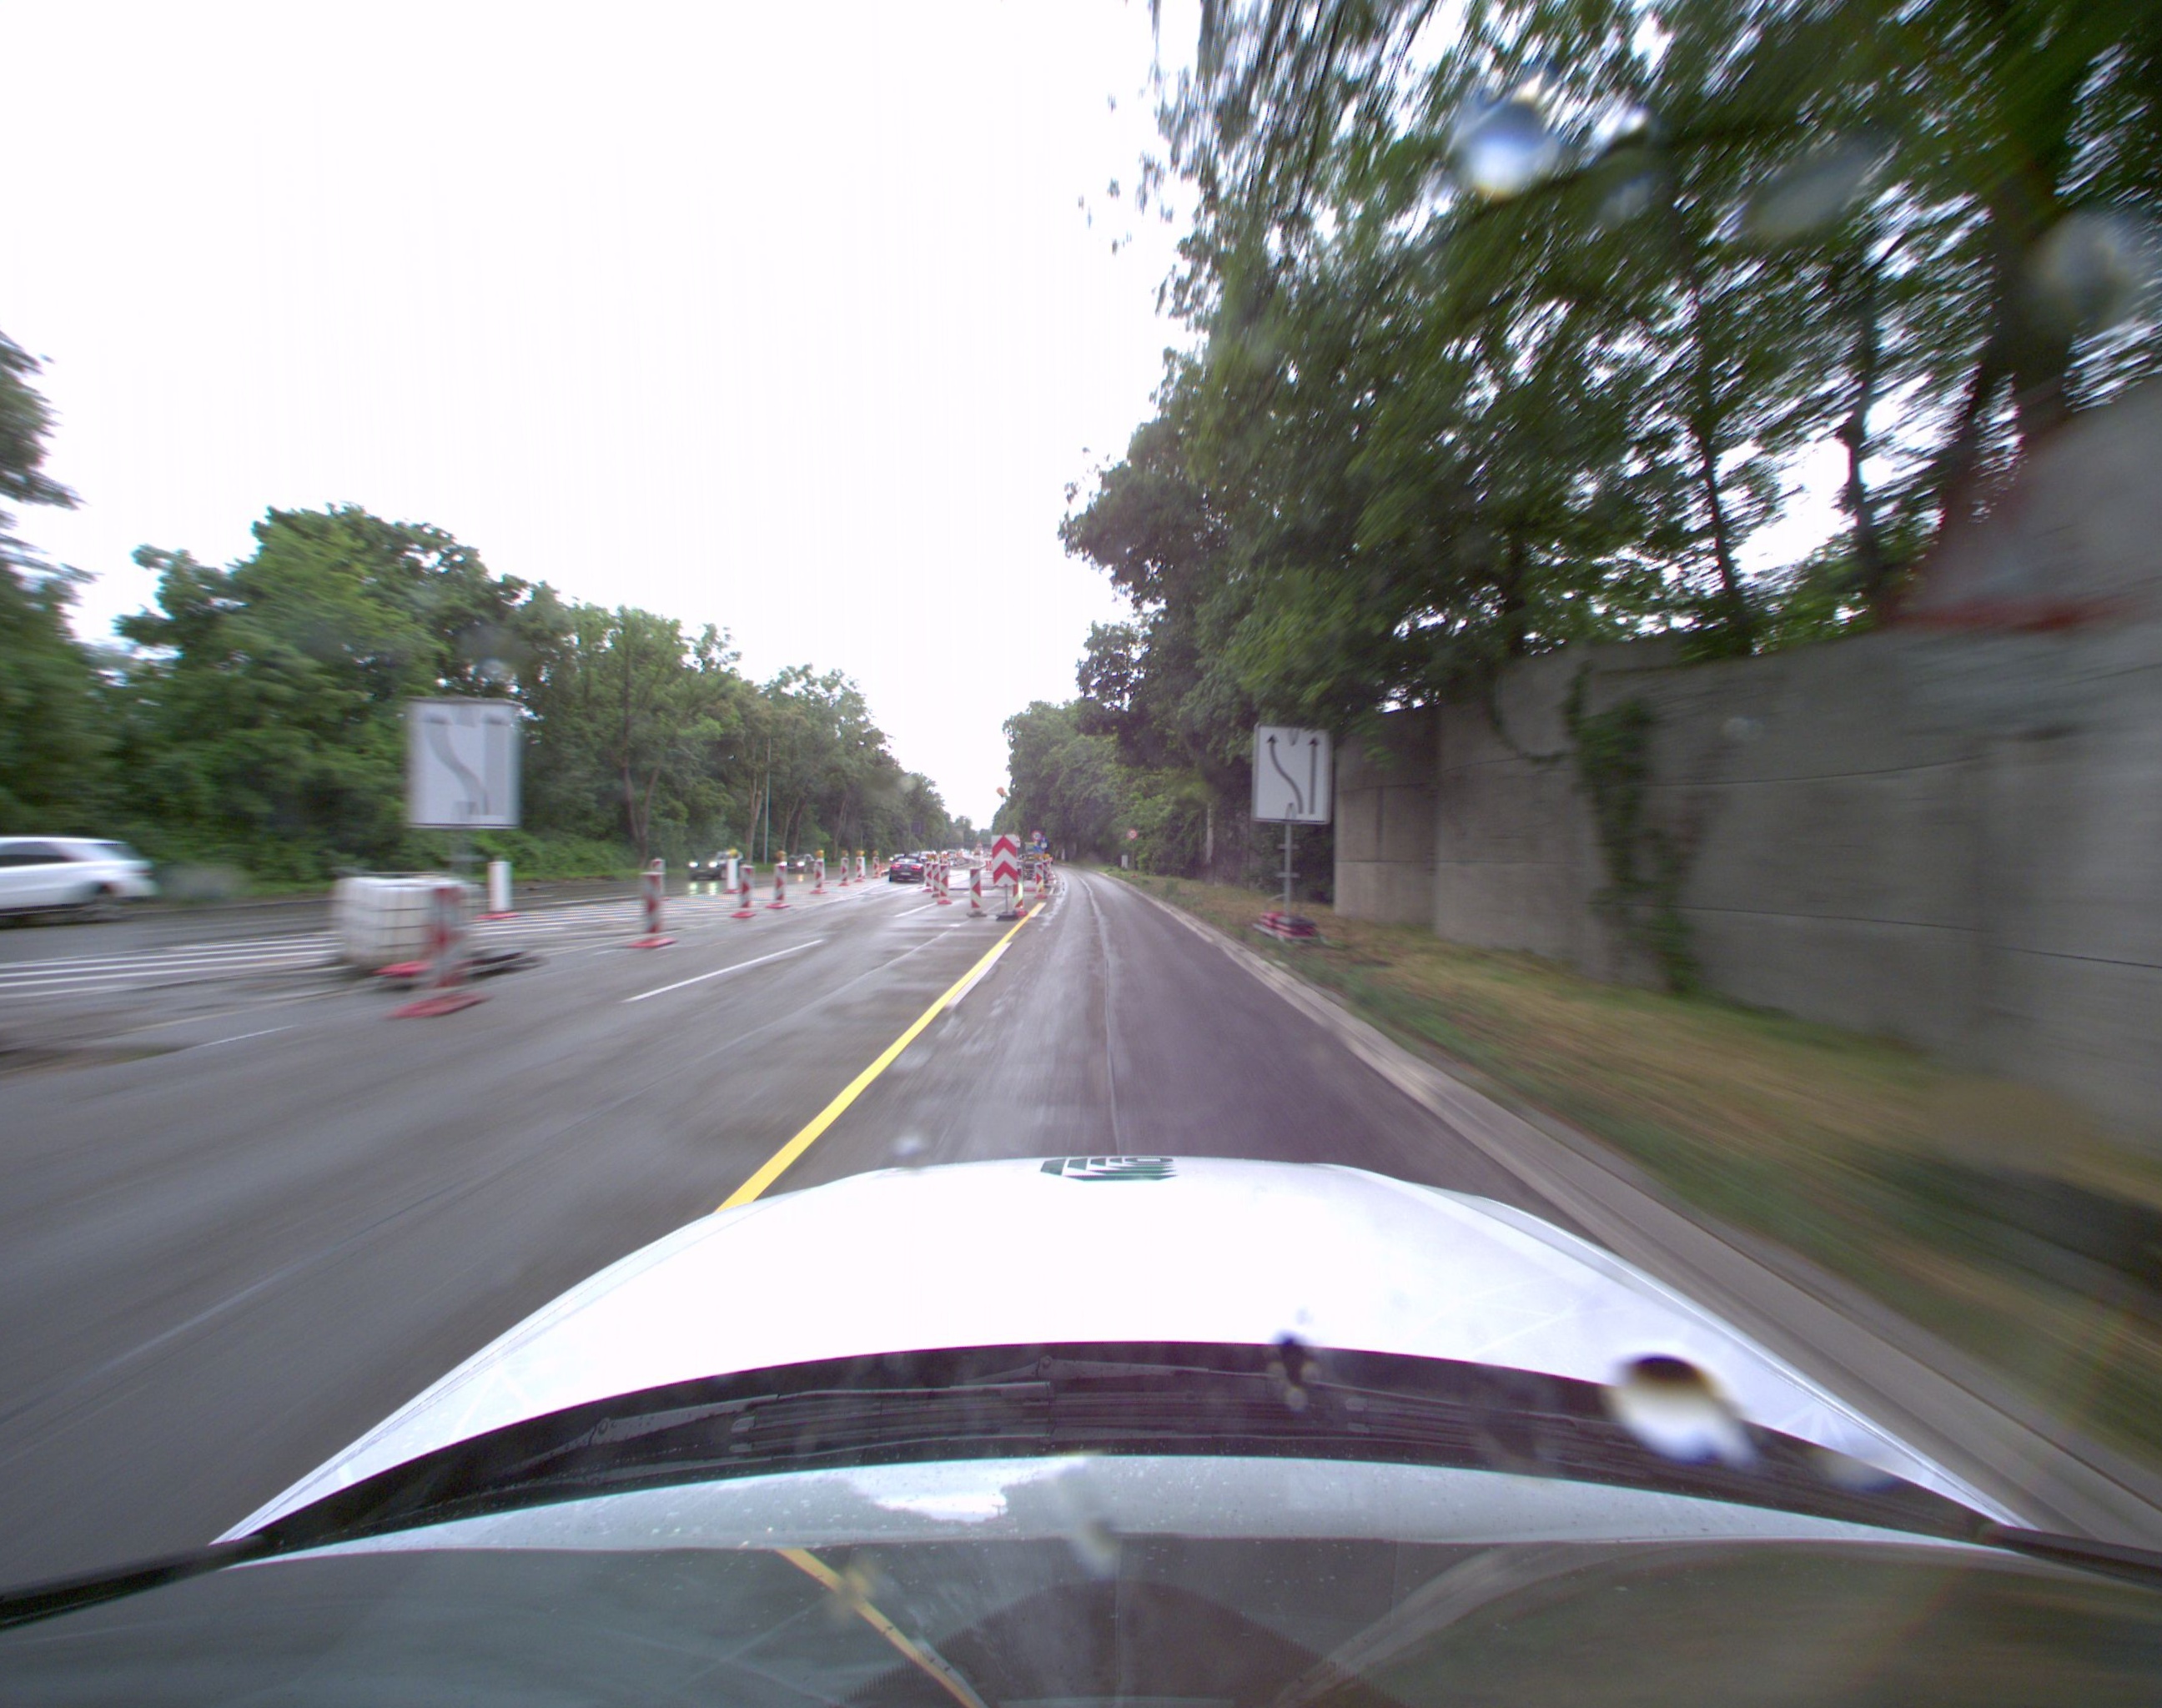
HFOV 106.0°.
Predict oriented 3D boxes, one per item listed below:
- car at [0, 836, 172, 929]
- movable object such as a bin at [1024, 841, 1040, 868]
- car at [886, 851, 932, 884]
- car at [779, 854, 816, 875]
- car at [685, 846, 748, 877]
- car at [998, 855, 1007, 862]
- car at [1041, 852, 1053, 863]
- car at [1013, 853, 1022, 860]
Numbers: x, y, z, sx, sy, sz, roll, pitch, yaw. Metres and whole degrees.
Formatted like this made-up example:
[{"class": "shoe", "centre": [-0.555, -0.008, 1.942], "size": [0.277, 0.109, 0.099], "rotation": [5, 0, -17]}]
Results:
[{"class": "car", "centre": [-21.036, 0.575, 15.551], "size": [1.837, 1.723, 4.722], "rotation": [-3, 0, 3]}, {"class": "movable object such as a bin", "centre": [-5.454, 0.055, 91.216], "size": [1.743, 2.867, 3.530], "rotation": [0, 0, -3]}, {"class": "car", "centre": [-9.439, 0.709, 44.919], "size": [1.858, 1.491, 3.996], "rotation": [2, 2, -4]}, {"class": "car", "centre": [-21.258, 0.753, 61.100], "size": [1.520, 1.457, 3.539], "rotation": [-1, 0, 0]}, {"class": "car", "centre": [-20.523, 0.404, 46.046], "size": [1.630, 1.647, 4.199], "rotation": [0, 0, 1]}, {"class": "car", "centre": [-20.192, 1.062, 208.650], "size": [1.870, 1.618, 3.997], "rotation": [3, 0, -2]}, {"class": "car", "centre": [-5.344, 0.529, 129.083], "size": [1.909, 1.598, 4.830], "rotation": [1, 1, -2]}, {"class": "car", "centre": [-13.795, 0.473, 176.658], "size": [1.755, 1.344, 3.991], "rotation": [2, 1, -7]}]
